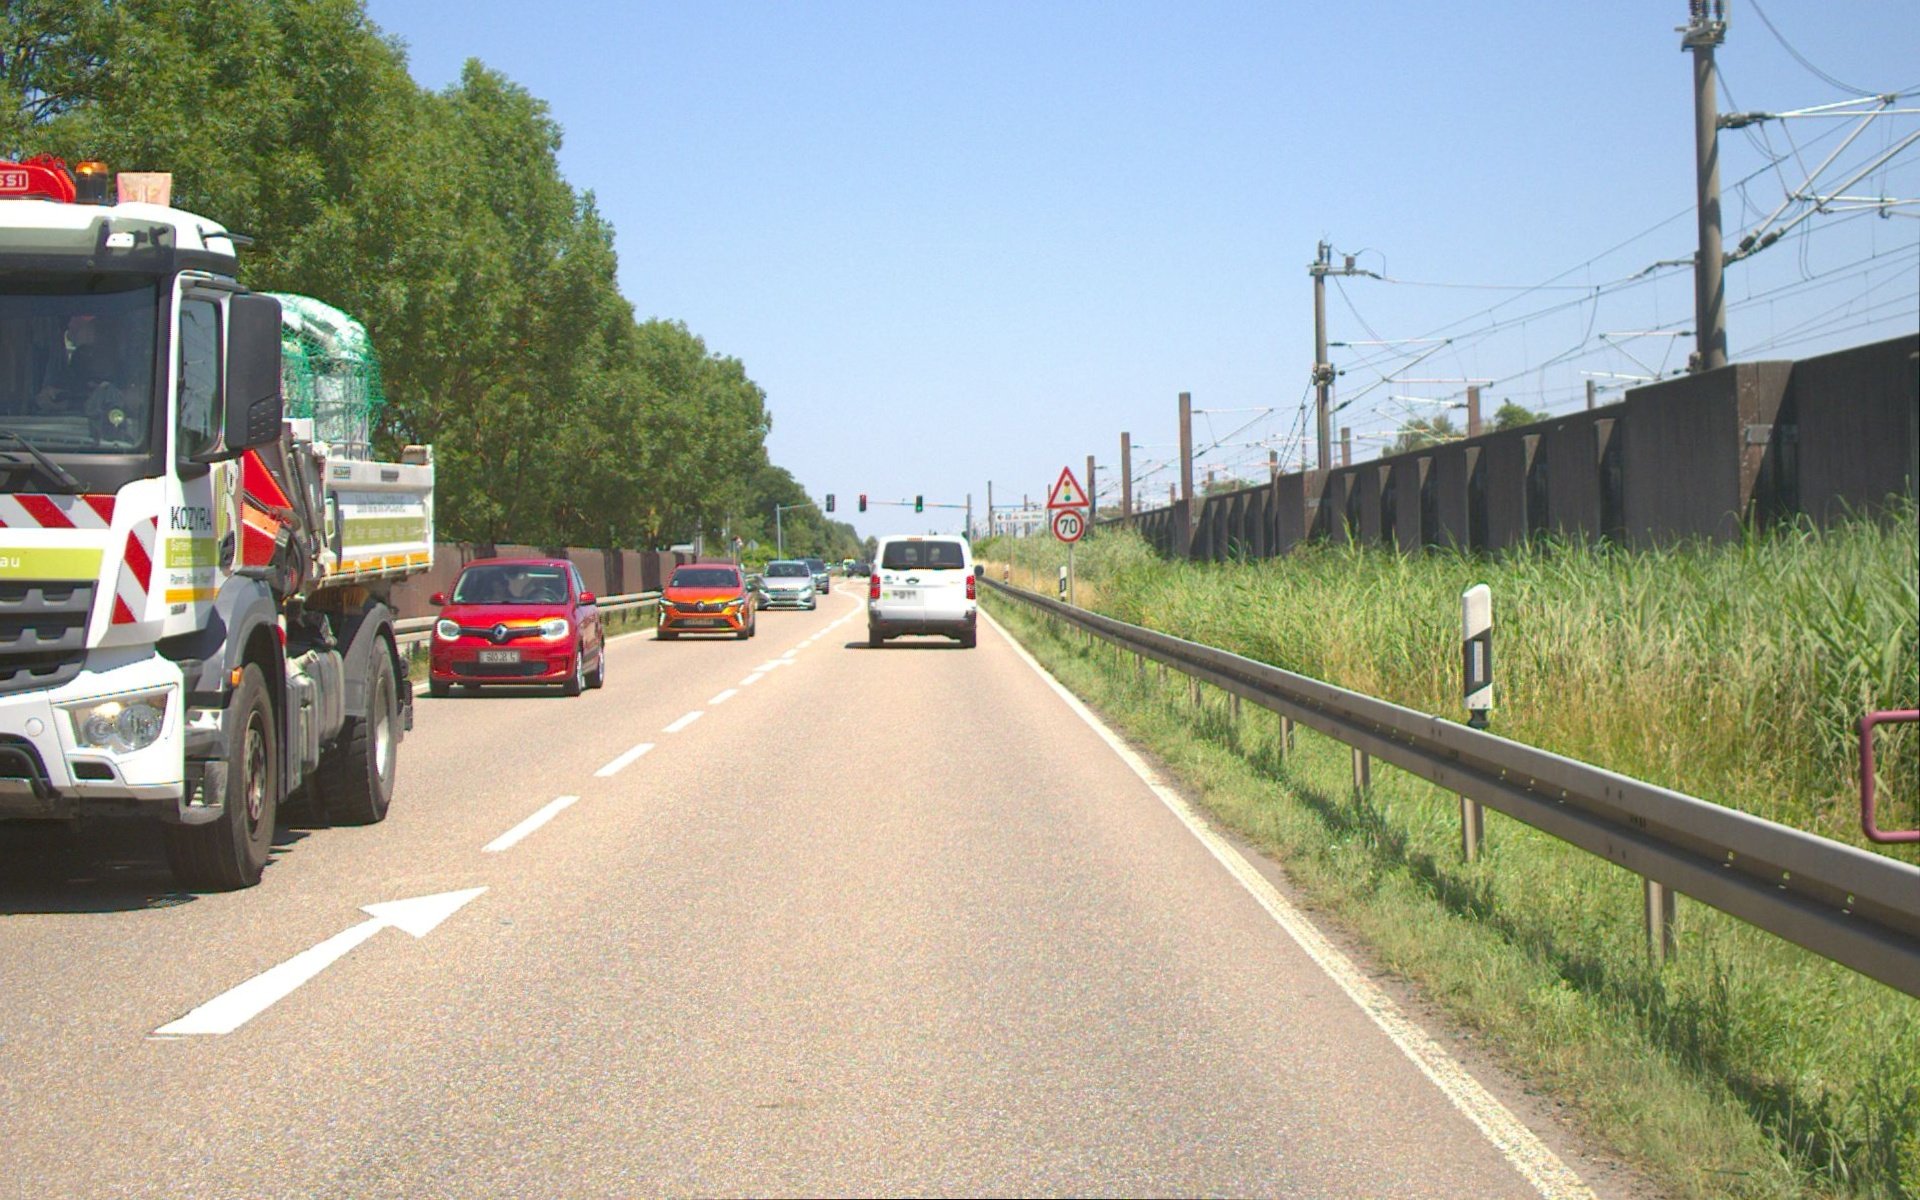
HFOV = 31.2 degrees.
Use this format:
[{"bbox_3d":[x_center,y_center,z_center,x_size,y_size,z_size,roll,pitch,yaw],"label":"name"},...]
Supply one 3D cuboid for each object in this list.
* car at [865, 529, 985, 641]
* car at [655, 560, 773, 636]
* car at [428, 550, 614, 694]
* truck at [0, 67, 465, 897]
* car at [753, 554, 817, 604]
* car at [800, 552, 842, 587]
[{"bbox_3d":[-0.599,-0.277,59.486,1.993,1.843,4.000,1,1,0],"label":"car"},{"bbox_3d":[-4.692,-0.060,66.056,1.789,1.417,4.000,0,1,3],"label":"car"},{"bbox_3d":[-4.931,0.211,39.040,1.652,1.546,4.000,0,1,-1],"label":"car"},{"bbox_3d":[-4.540,-0.560,18.088,2.783,3.393,7.989,1,1,-1],"label":"truck"},{"bbox_3d":[-5.465,-0.677,107.950,1.789,1.520,4.390,0,1,0],"label":"car"},{"bbox_3d":[-6.269,-1.390,155.018,1.789,1.520,4.390,0,1,-1],"label":"car"}]
